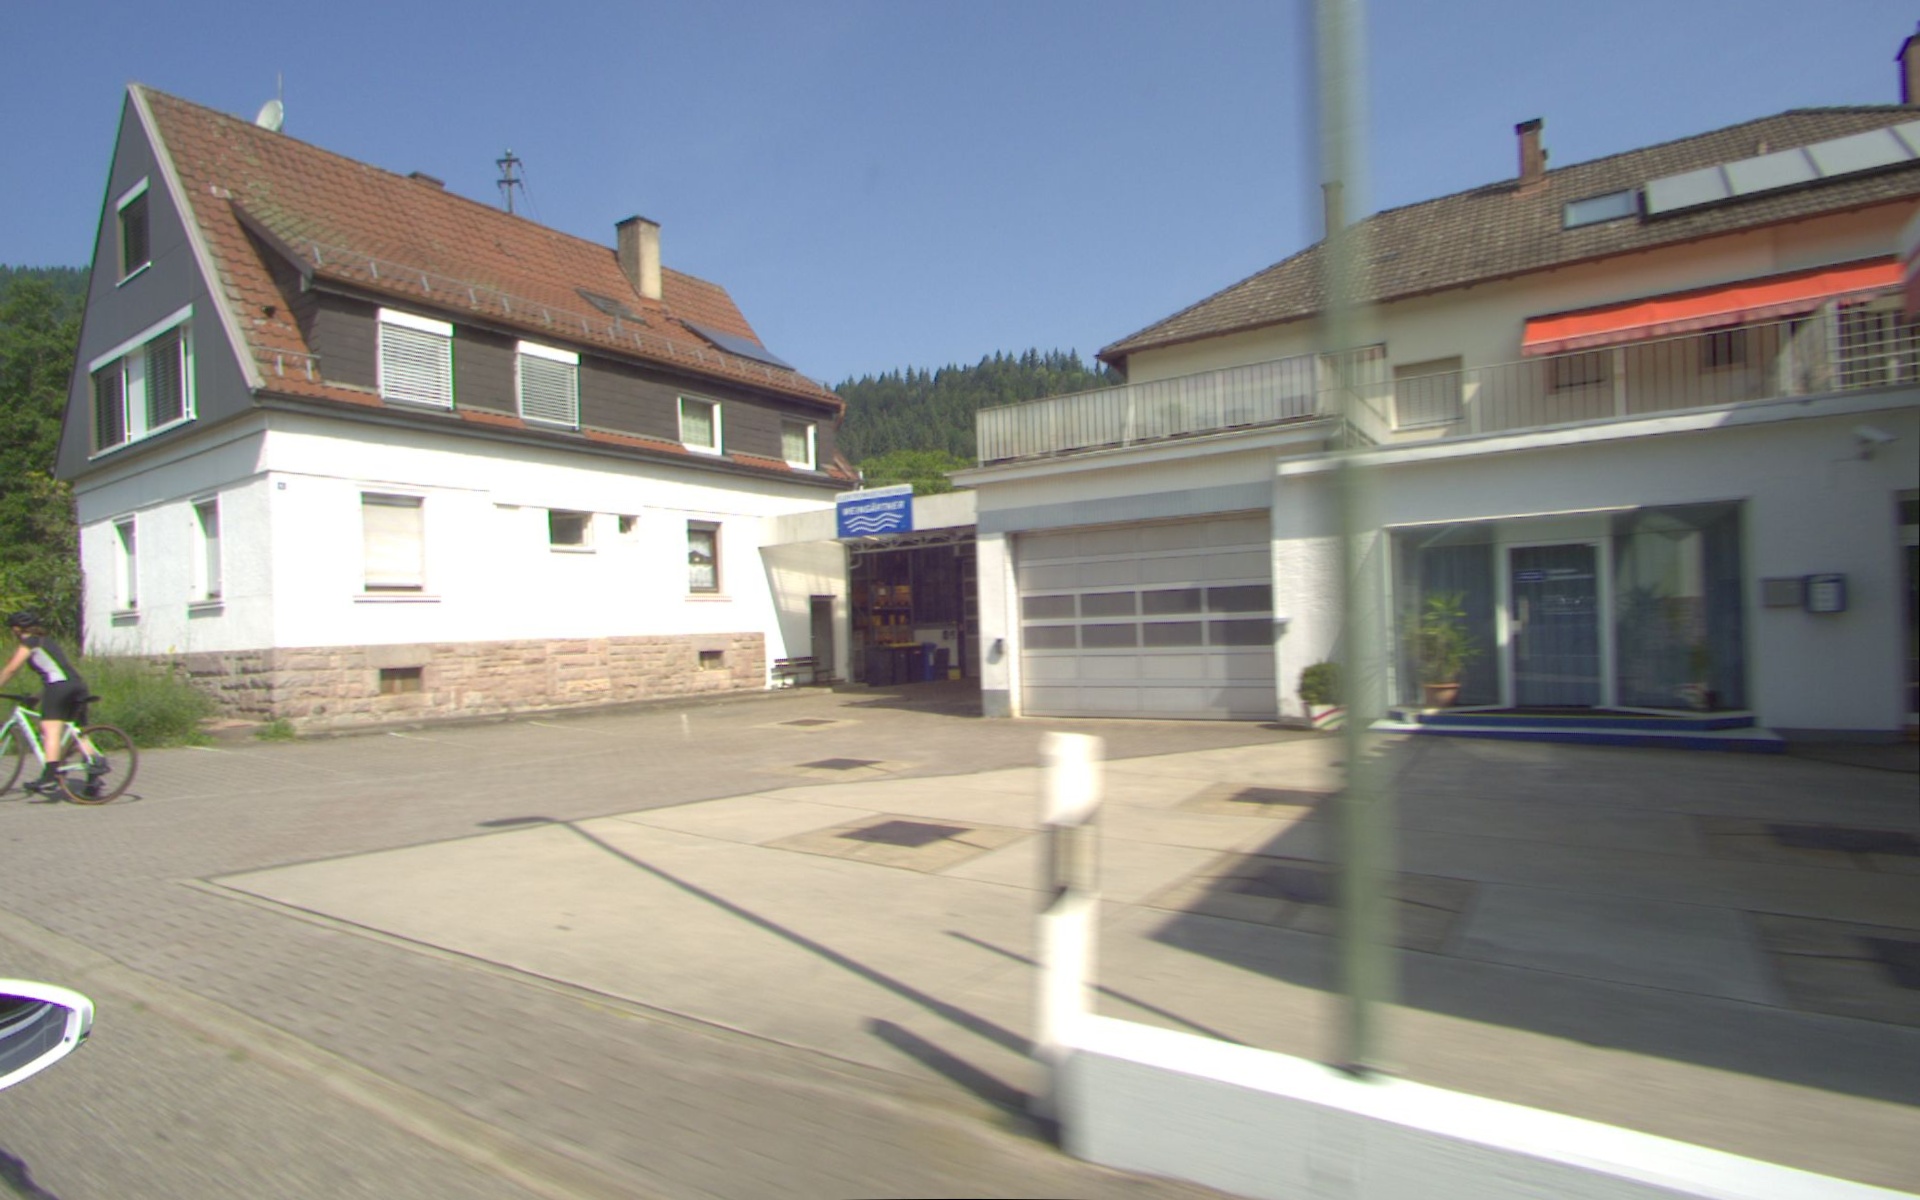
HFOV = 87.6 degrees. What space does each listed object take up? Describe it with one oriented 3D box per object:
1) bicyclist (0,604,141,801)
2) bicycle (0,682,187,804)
[{"bbox_3d":[-8.182,0.879,8.934,1.118,1.653,0.691,2,-1,4],"label":"bicyclist"},{"bbox_3d":[-8.114,1.249,8.943,1.912,0.929,0.691,2,-2,4],"label":"bicycle"}]
